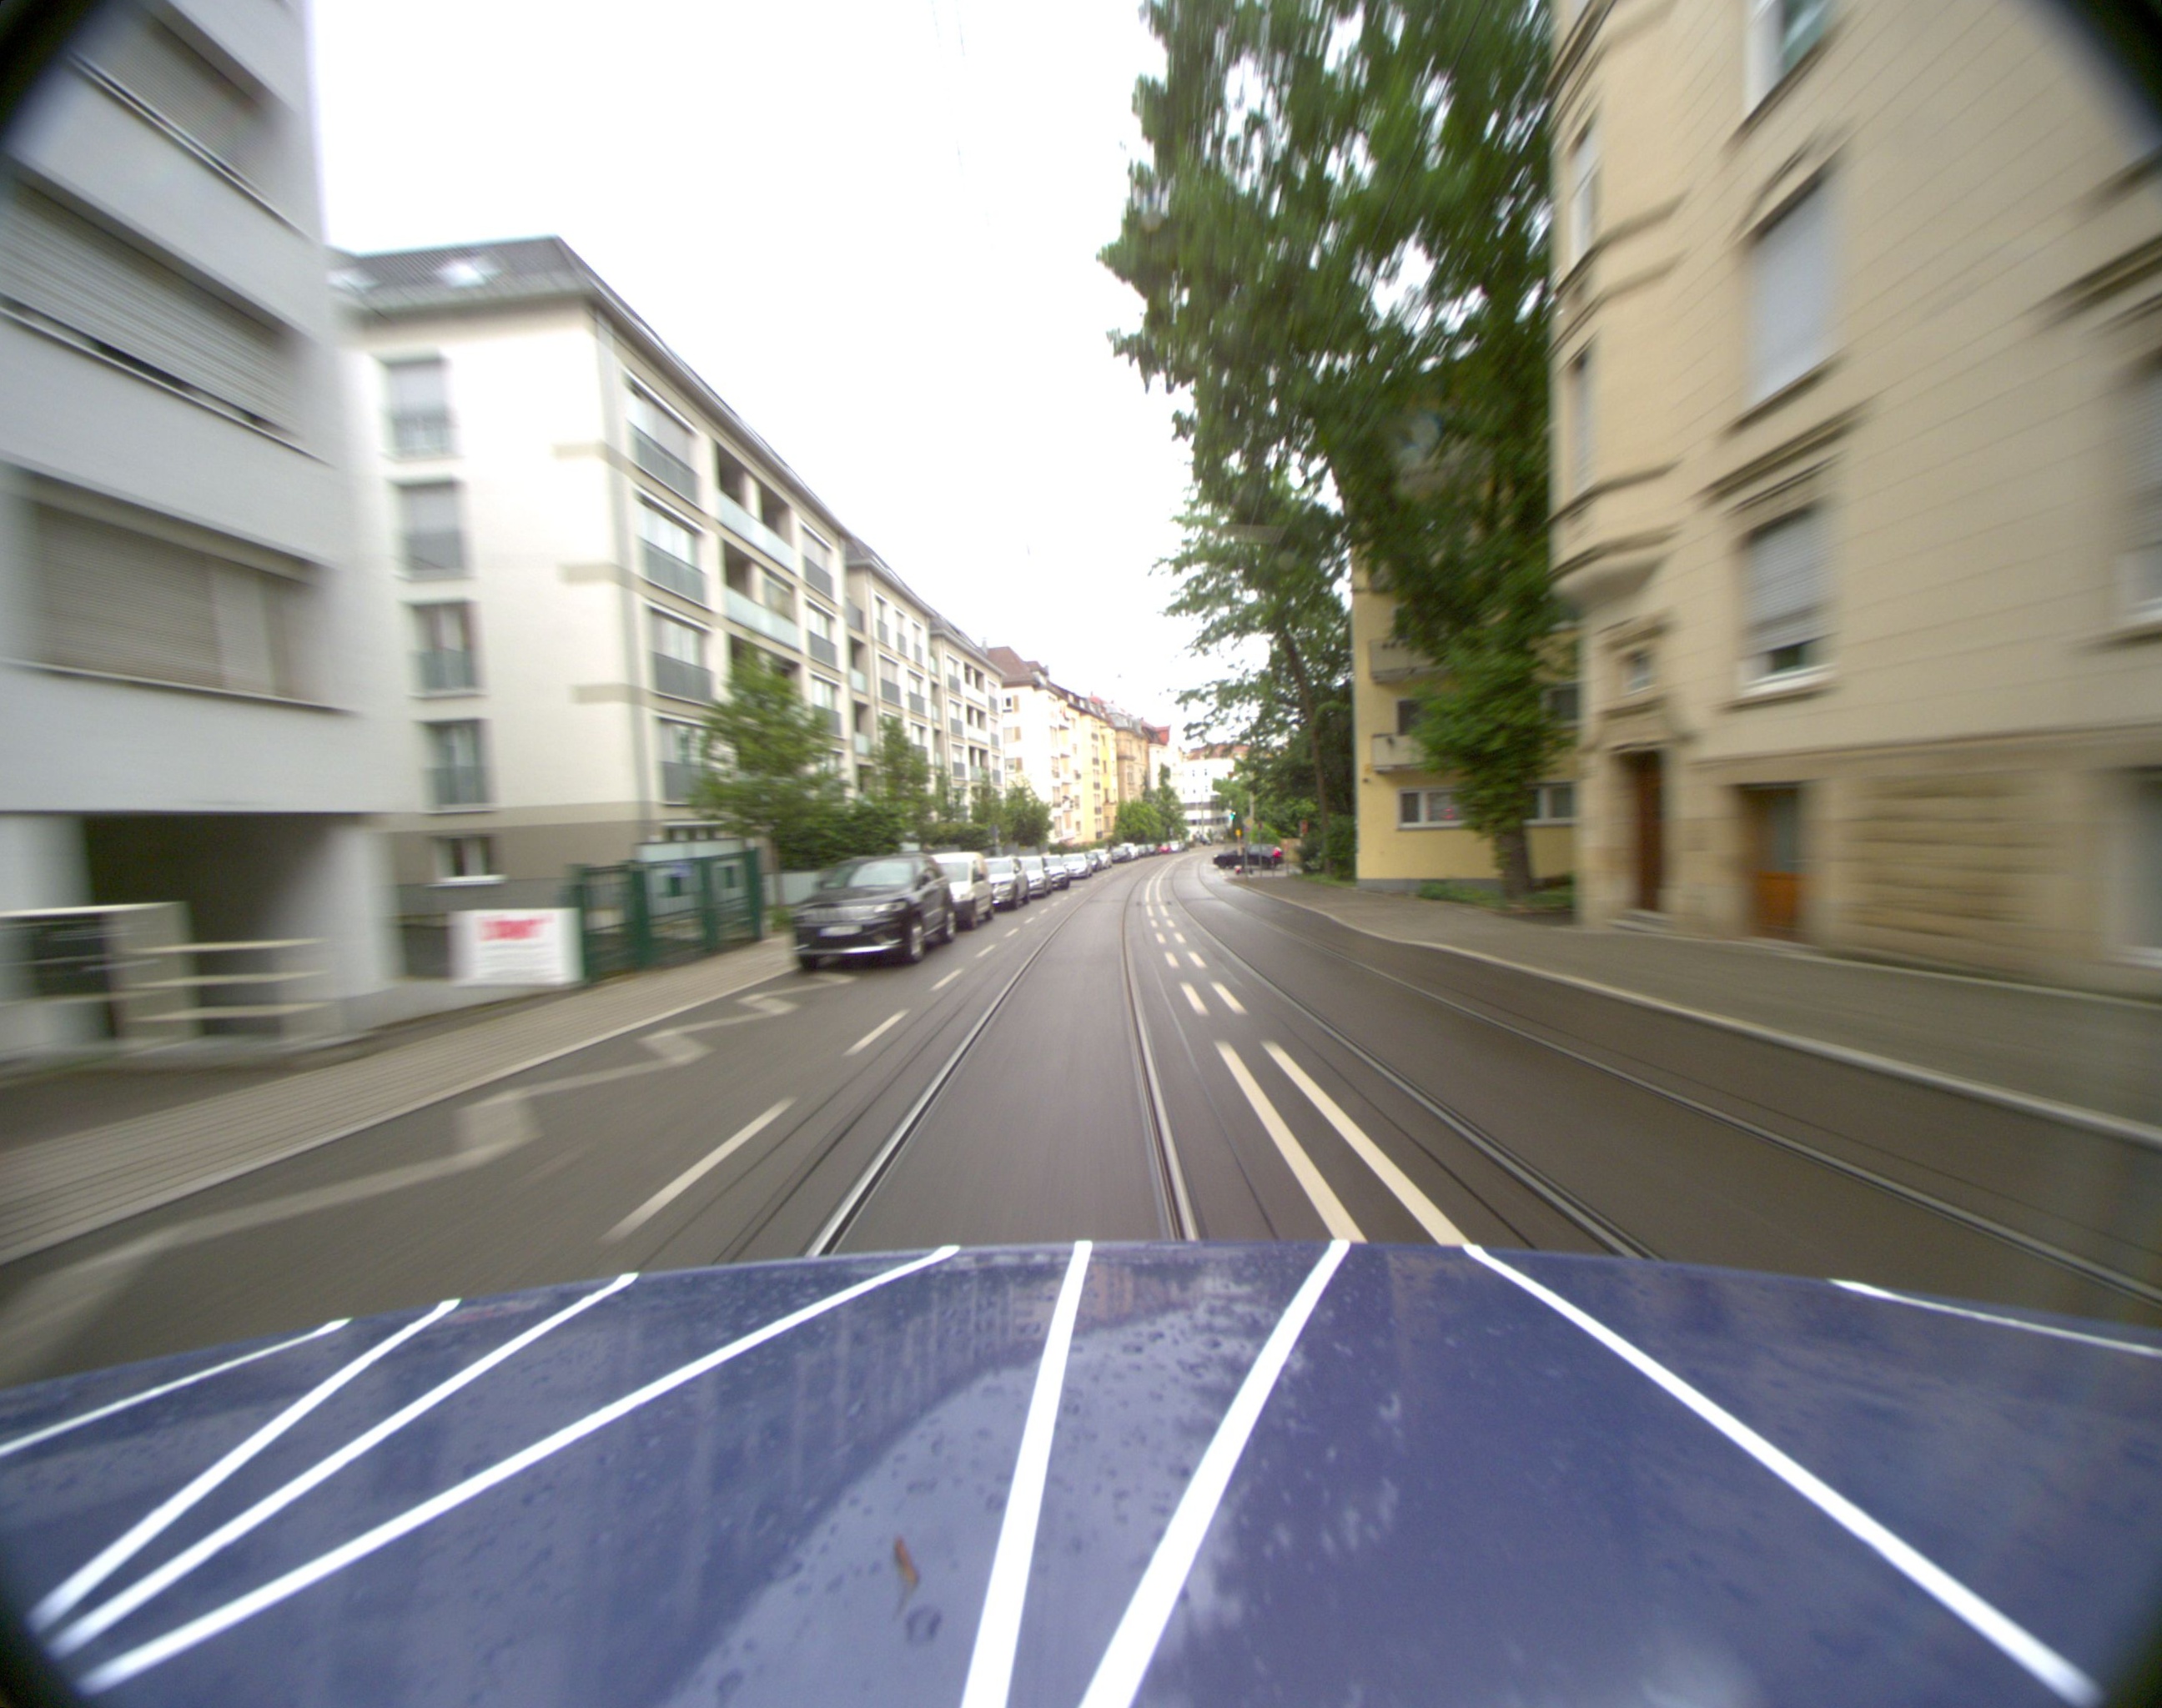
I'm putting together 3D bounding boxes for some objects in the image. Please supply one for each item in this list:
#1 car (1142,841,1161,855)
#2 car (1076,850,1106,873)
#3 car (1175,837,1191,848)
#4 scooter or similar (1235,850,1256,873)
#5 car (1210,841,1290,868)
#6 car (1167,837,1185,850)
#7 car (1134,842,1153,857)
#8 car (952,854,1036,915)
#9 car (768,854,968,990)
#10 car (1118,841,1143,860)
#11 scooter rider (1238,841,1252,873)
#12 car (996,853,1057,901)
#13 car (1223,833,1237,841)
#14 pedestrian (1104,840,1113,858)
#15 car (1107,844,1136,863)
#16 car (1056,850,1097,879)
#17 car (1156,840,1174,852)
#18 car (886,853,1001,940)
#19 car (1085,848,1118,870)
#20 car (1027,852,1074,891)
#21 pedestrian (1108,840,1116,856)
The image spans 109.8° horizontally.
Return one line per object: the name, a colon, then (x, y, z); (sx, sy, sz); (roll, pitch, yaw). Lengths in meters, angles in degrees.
car: (8.110, -0.718, 87.540); (1.657, 1.360, 3.638); (-4, 1, 12)
car: (0.730, 0.500, 52.972); (1.599, 1.416, 3.516); (-3, 1, 8)
car: (14.517, -1.659, 108.285); (1.612, 1.434, 3.691); (-4, 1, 18)
scooter or similar: (9.501, 0.442, 43.896); (1.088, 1.254, 0.645); (-1, 2, 3)
car: (11.215, 0.018, 50.560); (4.758, 1.668, 2.074); (0, 3, 30)
car: (12.925, -1.435, 103.271); (1.612, 1.434, 3.691); (-4, 1, 18)
car: (6.777, -0.546, 82.373); (1.589, 1.434, 3.478); (-4, 1, 11)
car: (-2.727, 0.916, 24.979); (1.836, 1.647, 4.687); (-3, 1, 4)
car: (-3.456, 0.992, 13.455); (1.947, 1.785, 4.820); (-4, 1, 1)
car: (4.826, -0.322, 73.725); (1.797, 1.613, 3.869); (-4, 1, 11)
scooter rider: (9.476, 0.179, 43.889); (0.689, 1.848, 0.645); (-1, 2, 3)
car: (-2.087, 0.856, 30.618); (1.836, 1.618, 4.664); (-3, 1, 3)
car: (28.783, -3.312, 146.764); (1.796, 1.502, 4.005); (-2, 2, 25)
pedestrian: (2.590, -0.442, 71.546); (0.716, 1.703, 0.665); (0, 2, 14)
car: (3.642, -0.050, 68.422); (1.797, 1.444, 4.106); (-4, 1, 13)
car: (-0.221, 0.598, 45.886); (1.862, 1.507, 4.791); (-3, 1, 7)
car: (10.521, -1.034, 94.747); (1.555, 1.360, 3.127); (-4, 1, 18)
car: (-3.237, 0.921, 18.840); (1.782, 1.785, 4.471); (-3, 0, 2)
car: (1.602, 0.364, 58.020); (1.721, 1.458, 4.393); (-3, 1, 10)
car: (-1.378, 0.776, 36.226); (1.980, 1.575, 4.565); (-3, 1, 0)
pedestrian: (3.119, -0.634, 75.973); (0.666, 1.560, 0.915); (0, 2, 14)
